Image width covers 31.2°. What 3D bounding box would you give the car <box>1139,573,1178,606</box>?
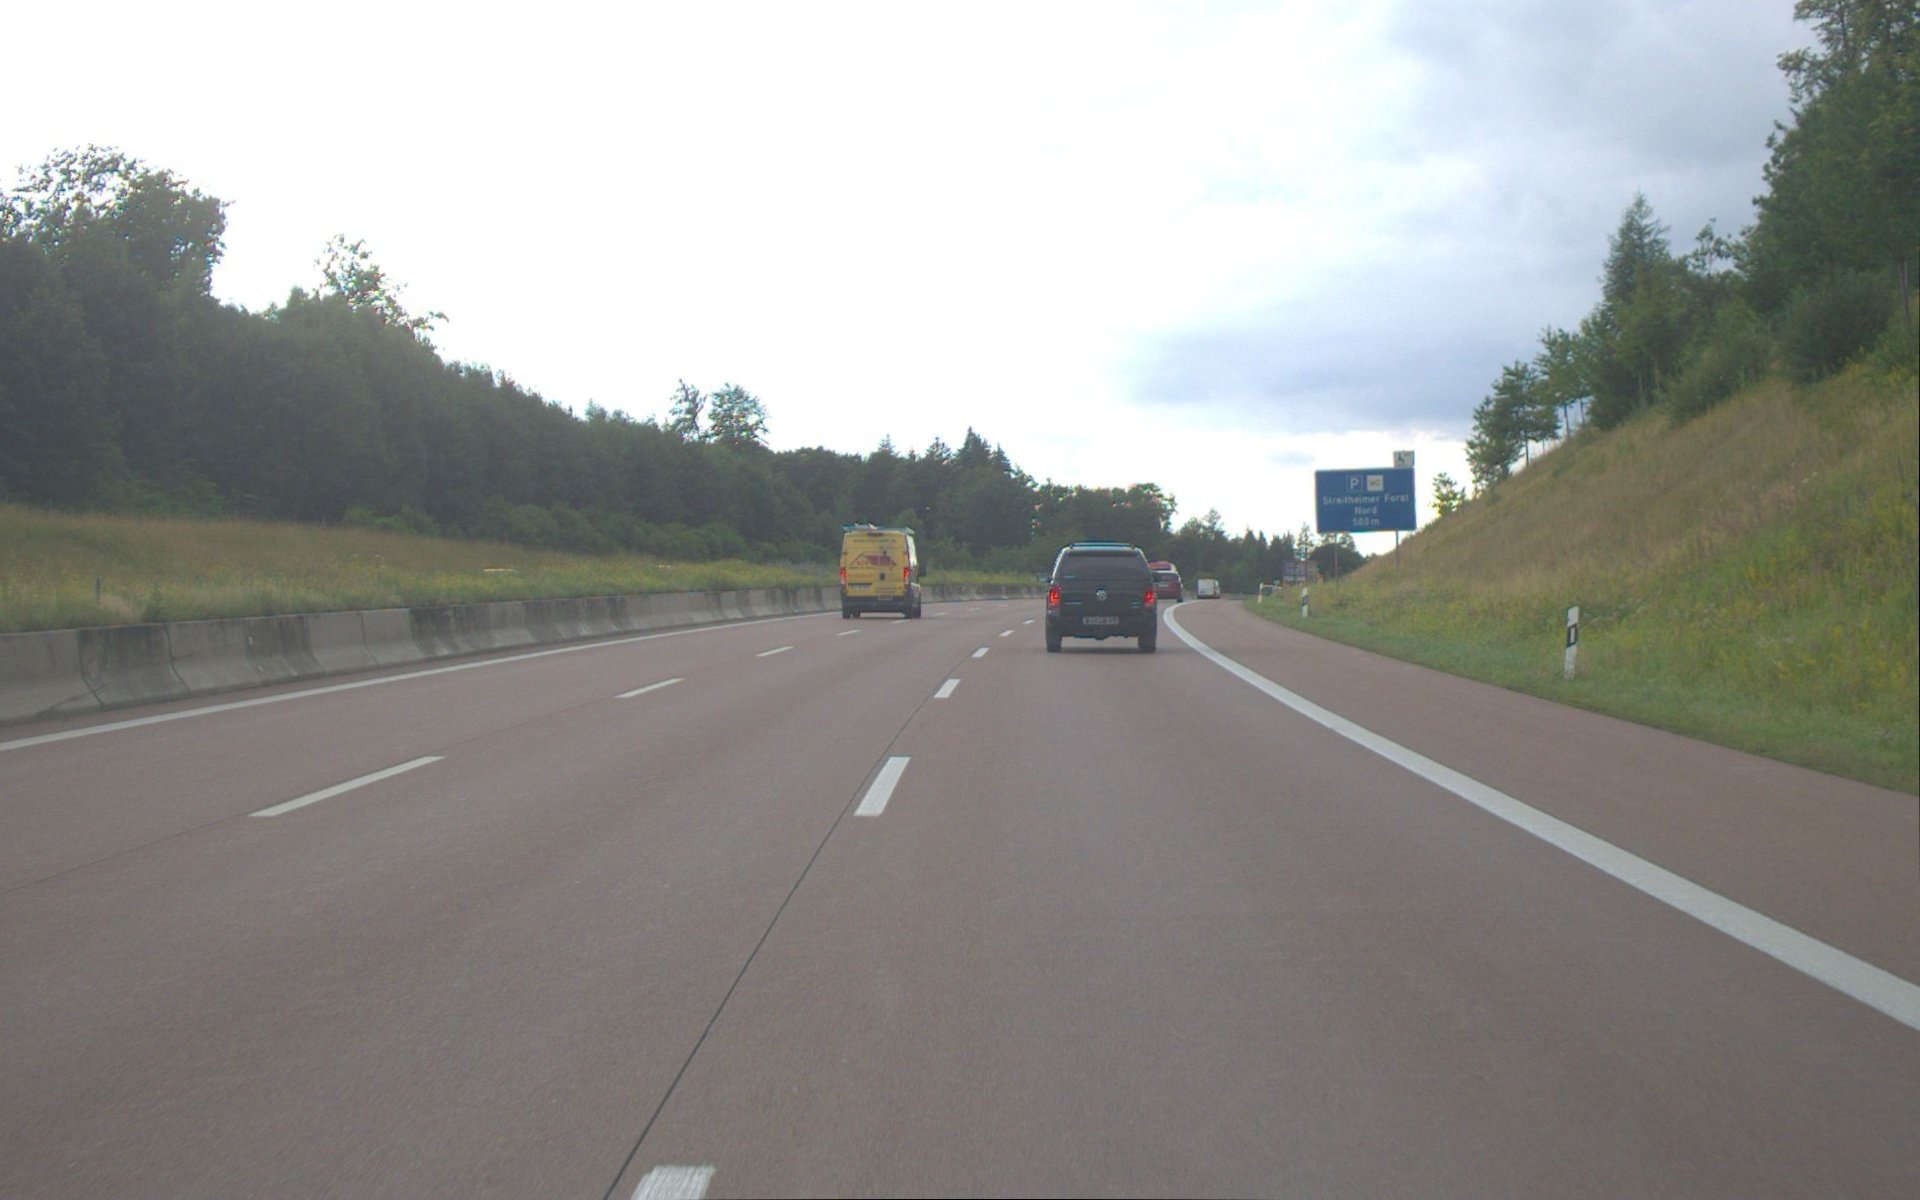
[{"bbox_3d":[10.393,-0.543,180.249,1.978,1.642,4.618,0,-1,3],"label":"car"}]

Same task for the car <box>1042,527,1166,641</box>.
[{"bbox_3d":[2.466,-0.236,60.094,2.044,1.890,5.577,0,-1,1],"label":"car"}]

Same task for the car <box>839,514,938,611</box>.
[{"bbox_3d":[-2.052,-1.056,100.742,2.459,2.697,5.612,0,-1,3],"label":"car"}]
